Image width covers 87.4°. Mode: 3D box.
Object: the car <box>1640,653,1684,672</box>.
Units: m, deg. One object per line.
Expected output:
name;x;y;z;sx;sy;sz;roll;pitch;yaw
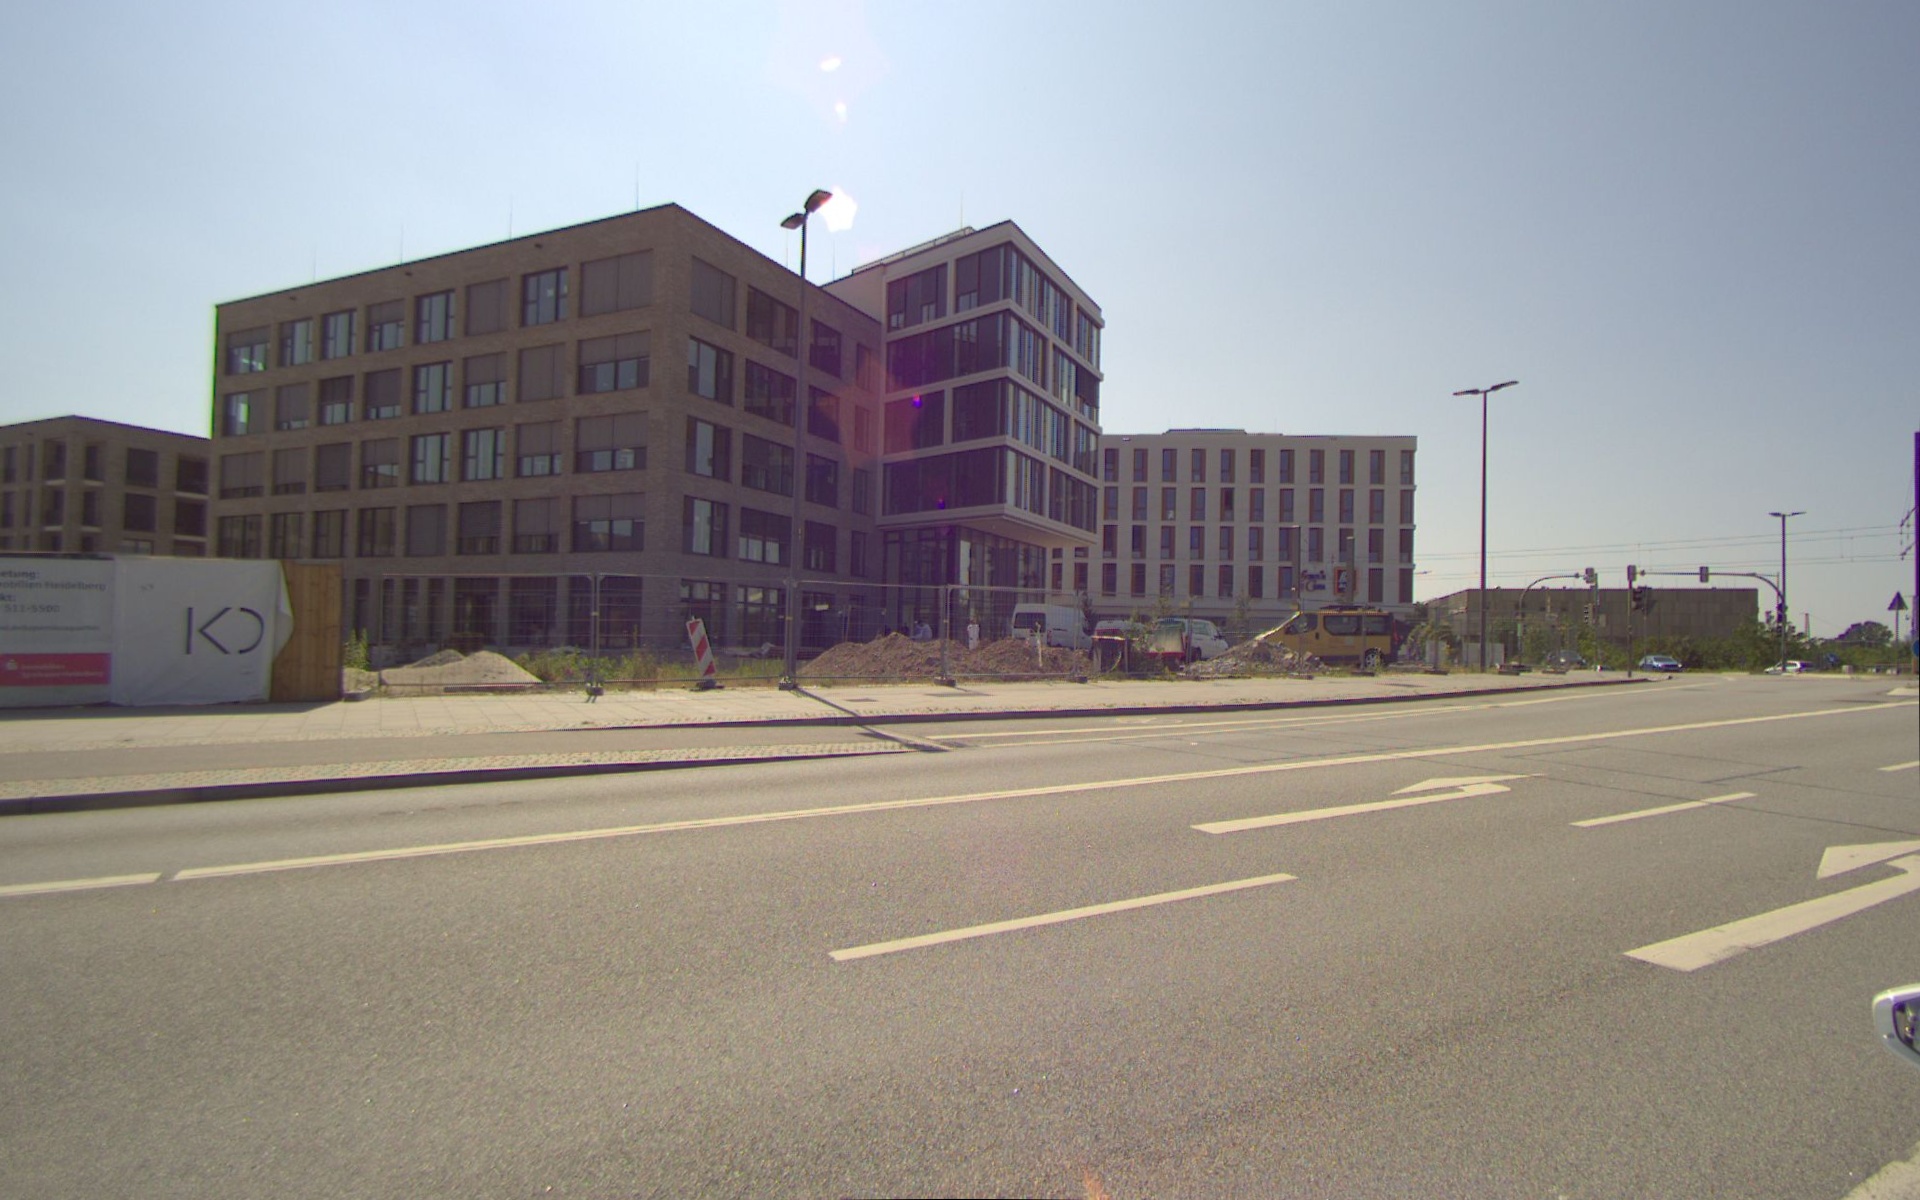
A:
car;53.819;4.771;77.034;1.787;1.348;4.000;2;-2;20

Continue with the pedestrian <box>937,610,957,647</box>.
pedestrian;-0.632;1.388;49.053;0.734;1.741;0.699;2;0;16

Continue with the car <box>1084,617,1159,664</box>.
car;7.065;1.712;43.701;1.760;1.881;3.841;2;0;33

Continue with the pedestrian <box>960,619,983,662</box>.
pedestrian;0.488;1.702;42.444;0.734;1.741;0.699;2;0;16

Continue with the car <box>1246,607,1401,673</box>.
car;12.109;1.296;33.740;4.533;1.988;1.991;2;0;9

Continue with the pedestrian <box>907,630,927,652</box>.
pedestrian;-2.049;1.937;47.591;0.734;1.041;0.699;2;0;16

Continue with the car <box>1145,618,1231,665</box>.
car;9.629;1.686;42.119;1.841;1.797;4.637;2;0;36

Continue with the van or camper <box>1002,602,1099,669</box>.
van or camper;4.125;1.549;45.063;2.273;2.772;4.975;2;0;32

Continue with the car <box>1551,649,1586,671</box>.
car;44.303;4.343;73.178;1.646;1.496;3.405;0;-1;22
